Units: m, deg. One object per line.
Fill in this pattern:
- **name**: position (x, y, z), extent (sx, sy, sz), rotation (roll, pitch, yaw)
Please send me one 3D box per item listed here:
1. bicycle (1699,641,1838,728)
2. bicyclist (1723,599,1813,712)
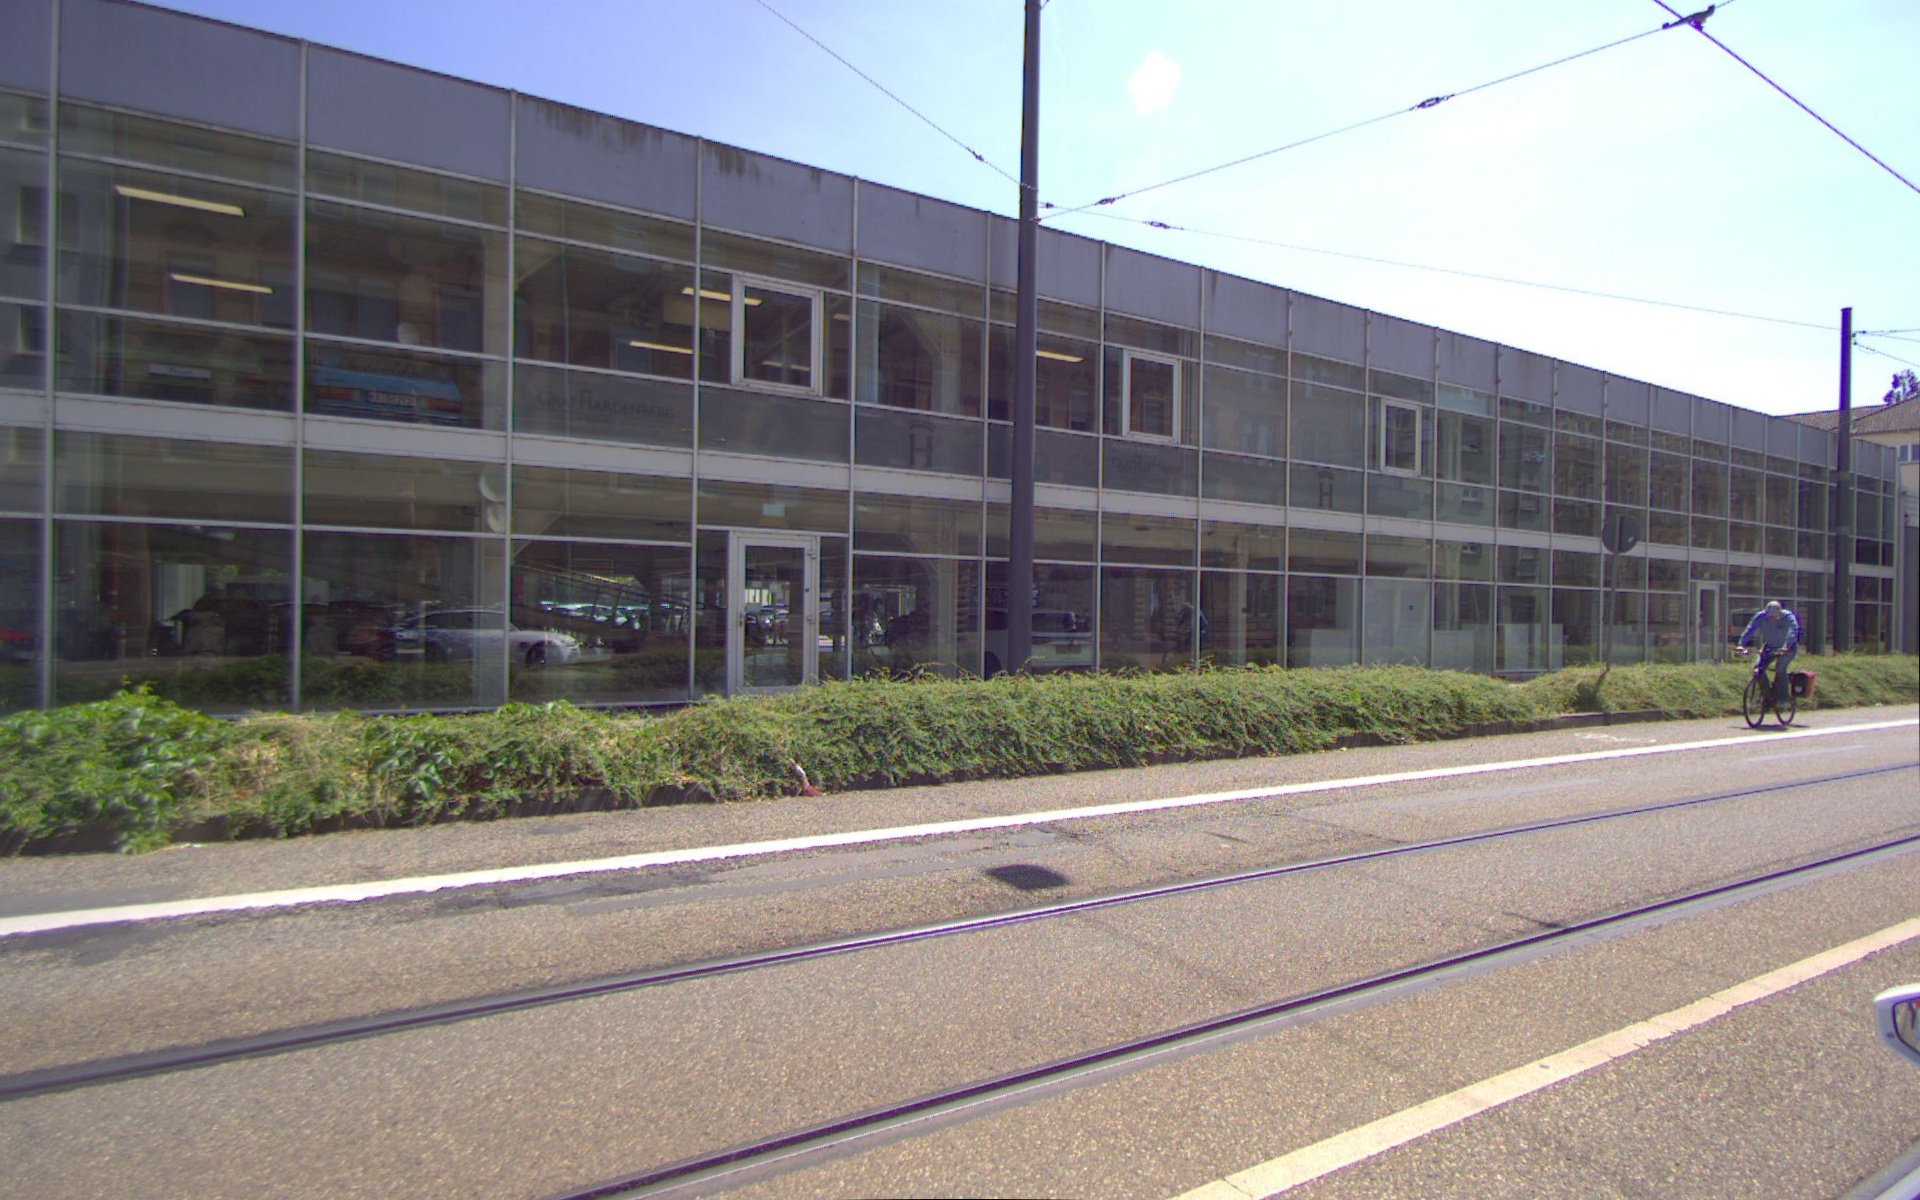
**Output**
- **bicycle**: position (11.722, 1.179, 14.538), extent (2.465, 1.160, 0.695), rotation (1, -1, -29)
- **bicyclist**: position (11.670, 0.783, 14.514), extent (0.968, 1.569, 0.695), rotation (1, -1, -28)
